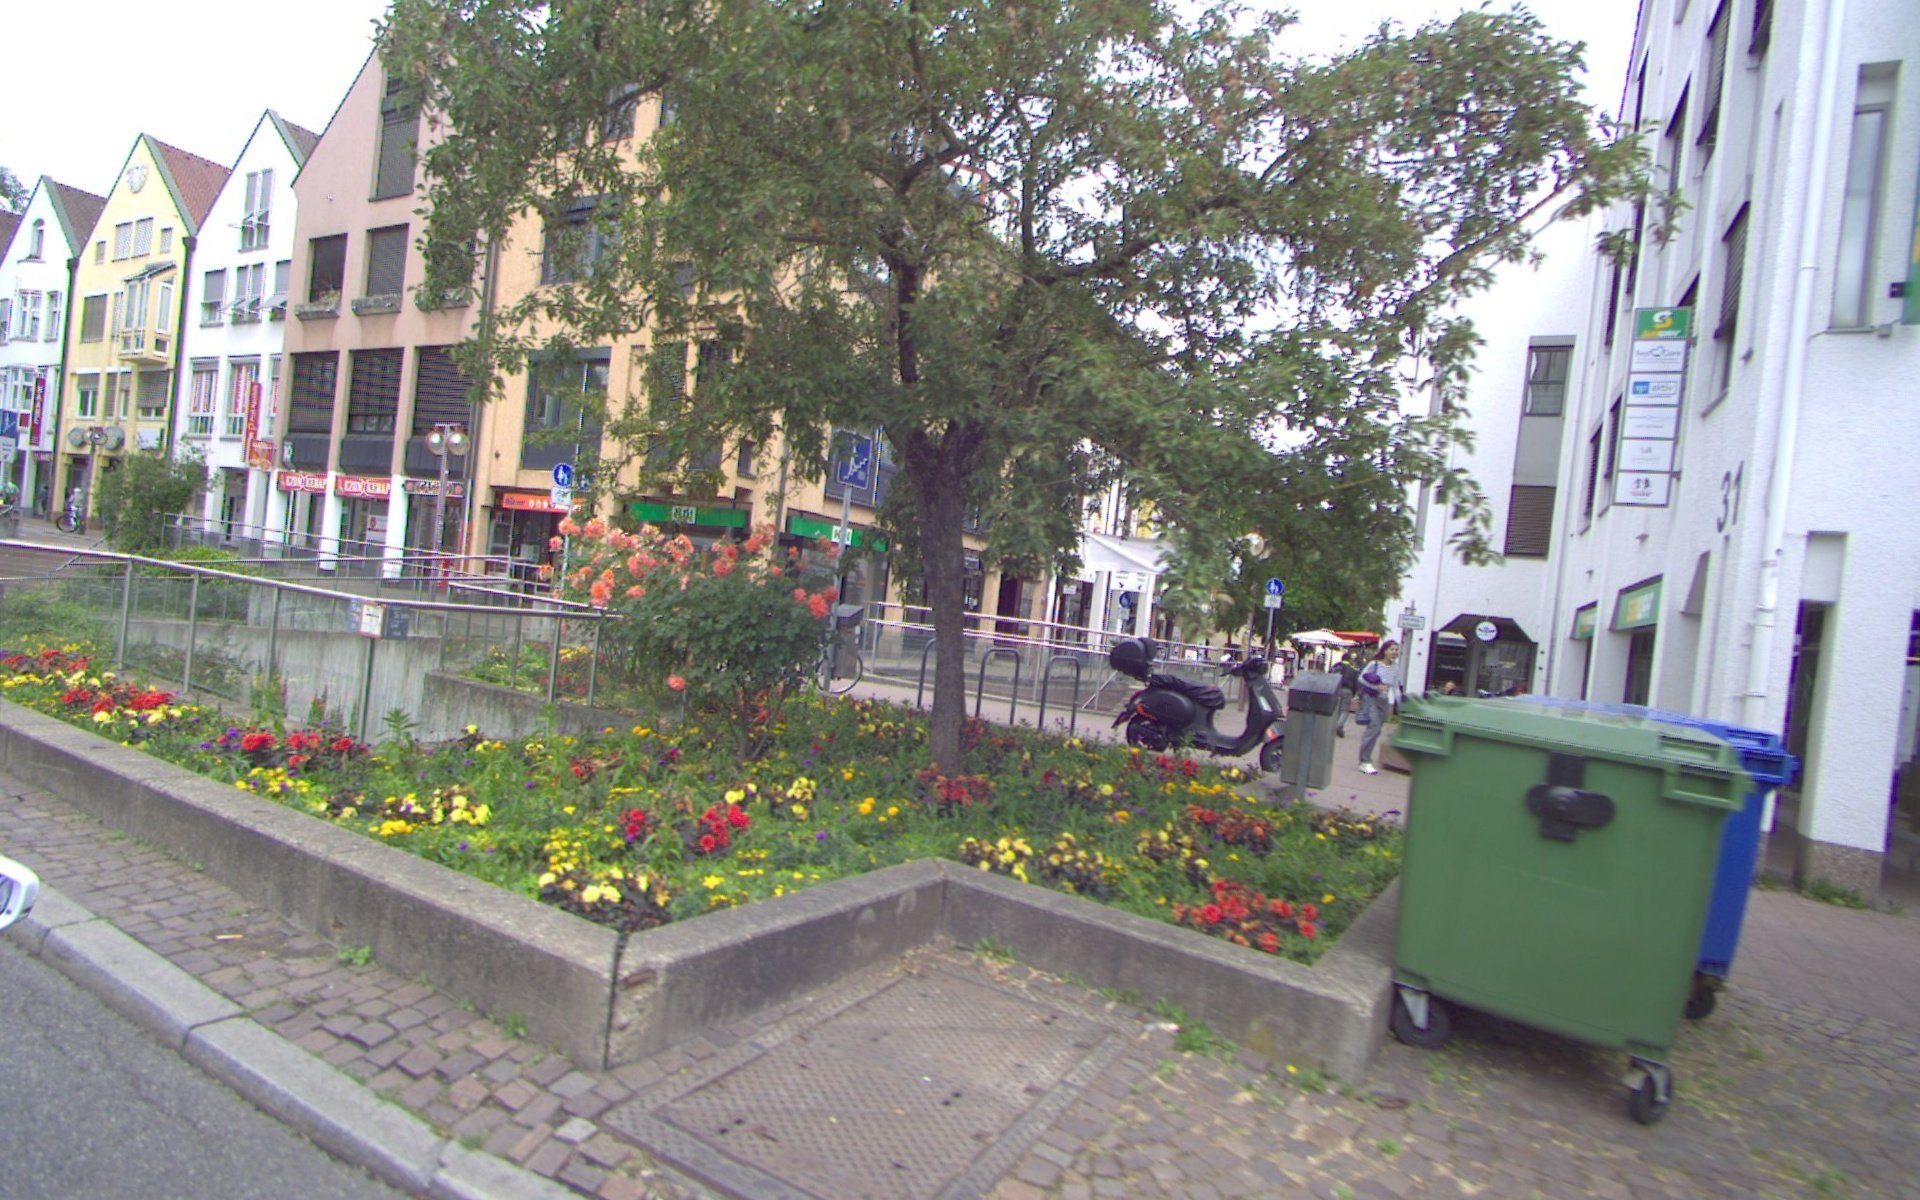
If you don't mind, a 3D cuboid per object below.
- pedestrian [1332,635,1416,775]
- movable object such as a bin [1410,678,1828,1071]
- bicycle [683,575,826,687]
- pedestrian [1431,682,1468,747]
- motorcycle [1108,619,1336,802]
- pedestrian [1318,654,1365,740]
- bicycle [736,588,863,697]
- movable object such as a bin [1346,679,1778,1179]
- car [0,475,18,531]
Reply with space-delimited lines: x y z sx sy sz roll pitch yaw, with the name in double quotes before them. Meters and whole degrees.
"pedestrian" 5.121 1.290 12.463 0.610 1.622 0.511 7 1 -15
"movable object such as a bin" 3.037 1.141 4.780 1.353 1.356 1.144 7 1 33
"bicycle" -2.771 0.449 13.750 0.828 1.343 1.820 7 0 27
"pedestrian" 9.911 2.307 20.368 0.504 1.215 0.619 7 1 29
"motorcycle" 2.573 1.038 9.959 1.912 1.456 0.721 7 1 29
"pedestrian" 7.064 1.778 18.656 0.609 1.495 0.608 7 1 19
"bicycle" -2.073 0.571 13.218 0.658 1.274 1.678 7 0 27
"movable object such as a bin" 2.139 1.037 3.664 1.068 1.356 0.882 7 1 33
"car" -35.483 -3.656 35.723 3.933 1.888 1.869 7 0 31
